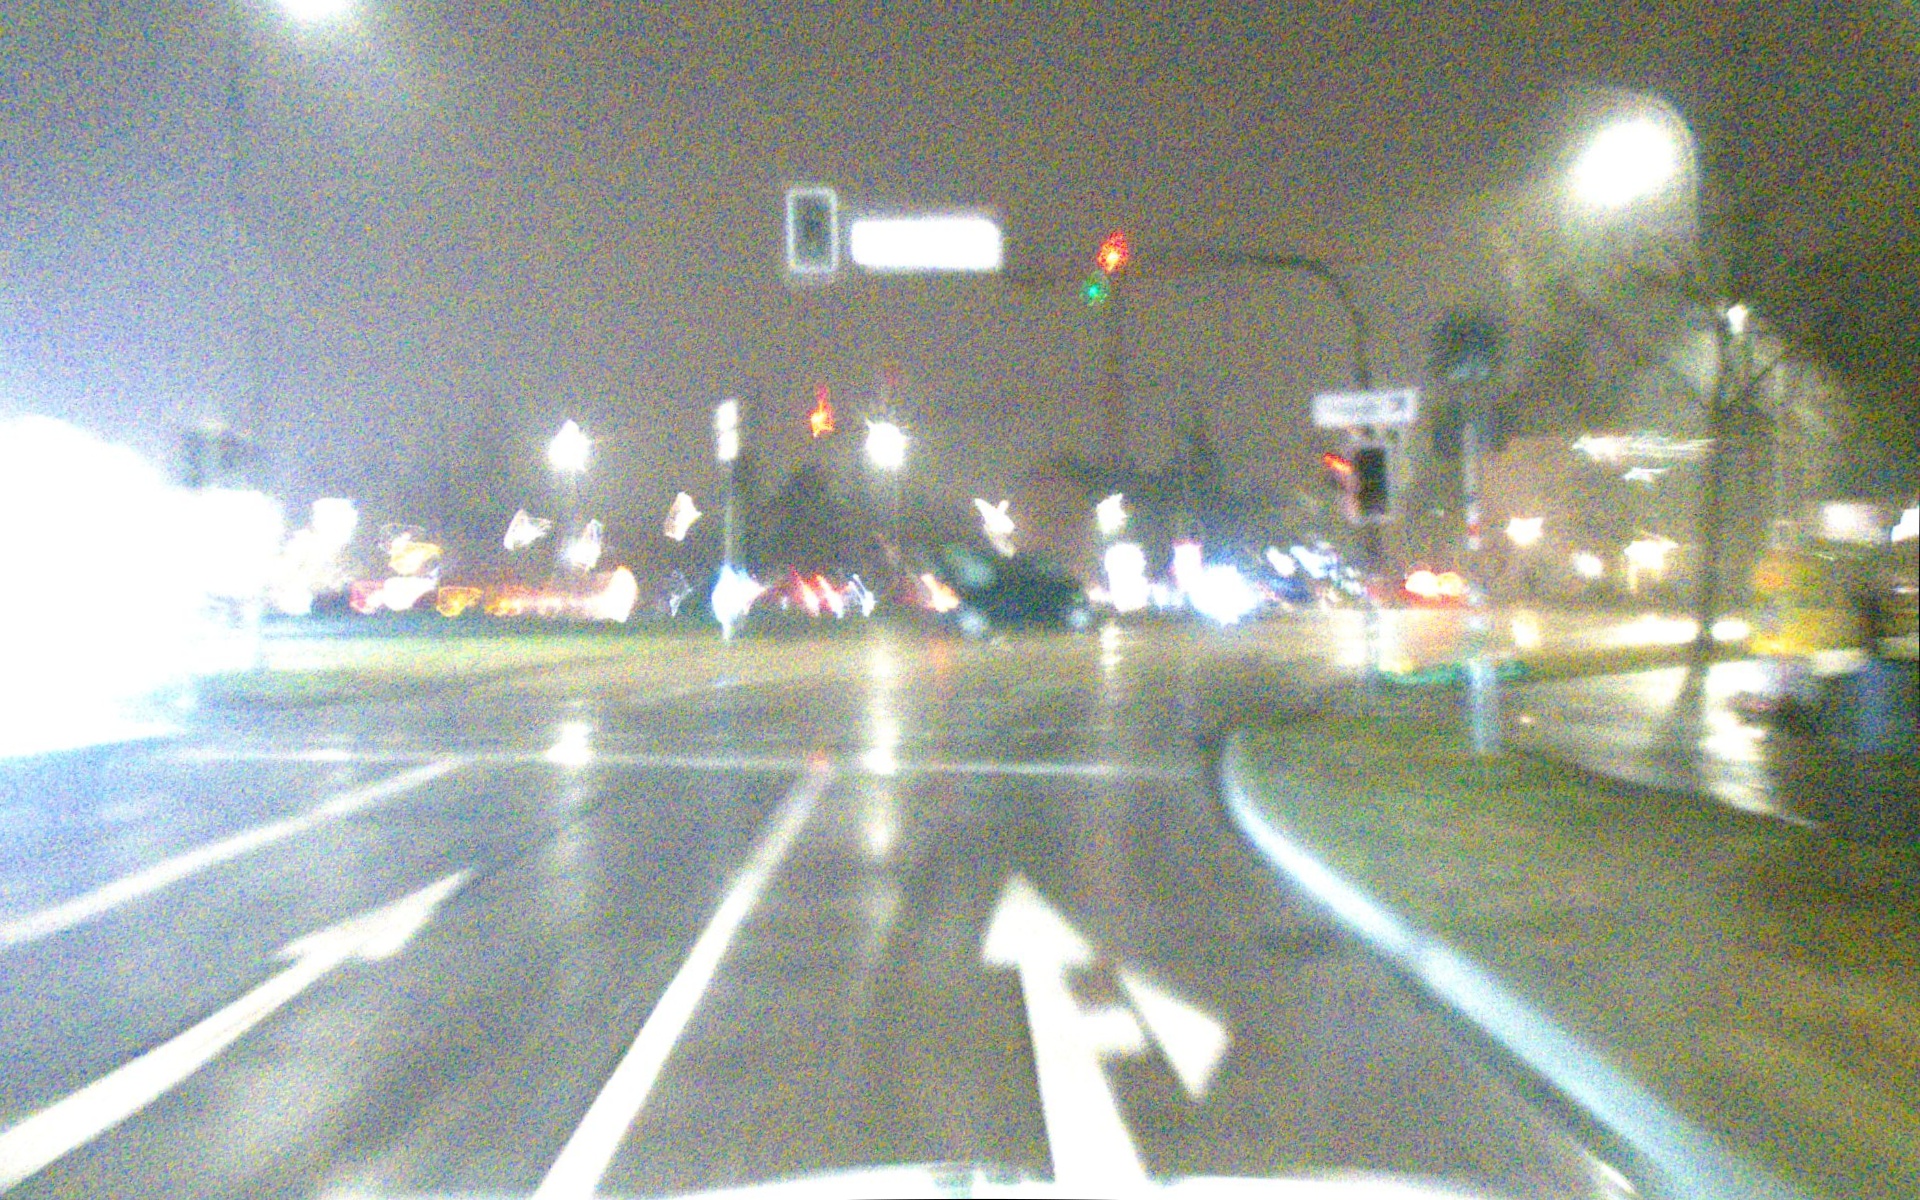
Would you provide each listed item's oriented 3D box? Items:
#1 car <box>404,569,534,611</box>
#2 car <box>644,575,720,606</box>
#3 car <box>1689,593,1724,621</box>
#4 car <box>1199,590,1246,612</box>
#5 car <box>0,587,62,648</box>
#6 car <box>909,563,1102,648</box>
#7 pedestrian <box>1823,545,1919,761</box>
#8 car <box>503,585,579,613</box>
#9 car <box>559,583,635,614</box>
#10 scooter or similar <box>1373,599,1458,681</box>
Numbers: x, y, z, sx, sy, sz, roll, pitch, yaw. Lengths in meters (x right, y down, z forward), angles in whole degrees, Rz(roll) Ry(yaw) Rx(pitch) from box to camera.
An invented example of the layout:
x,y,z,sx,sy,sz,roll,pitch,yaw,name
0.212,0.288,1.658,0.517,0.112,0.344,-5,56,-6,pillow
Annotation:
x,y,z,sx,sy,sz,roll,pitch,yaw,name
-25.710,-0.510,86.674,6.216,2.125,2.495,0,0,-26,car
-14.925,-0.516,88.955,3.873,1.606,1.736,0,0,-3,car
42.741,0.382,94.657,1.683,1.523,3.908,1,0,26,car
22.060,0.101,138.645,1.961,1.766,4.600,1,0,37,car
-29.587,0.491,50.987,2.021,1.762,5.114,0,0,-13,car
1.151,0.139,41.855,4.477,2.049,1.988,0,0,-21,car
6.842,0.369,12.001,0.711,1.511,0.836,0,0,-2,pedestrian
-23.378,-0.050,92.400,3.914,1.512,1.765,0,0,-10,car
-19.510,-0.078,88.930,3.919,1.644,1.830,0,0,-14,car
6.306,0.561,22.906,1.079,1.117,0.317,-2,-1,27,scooter or similar
